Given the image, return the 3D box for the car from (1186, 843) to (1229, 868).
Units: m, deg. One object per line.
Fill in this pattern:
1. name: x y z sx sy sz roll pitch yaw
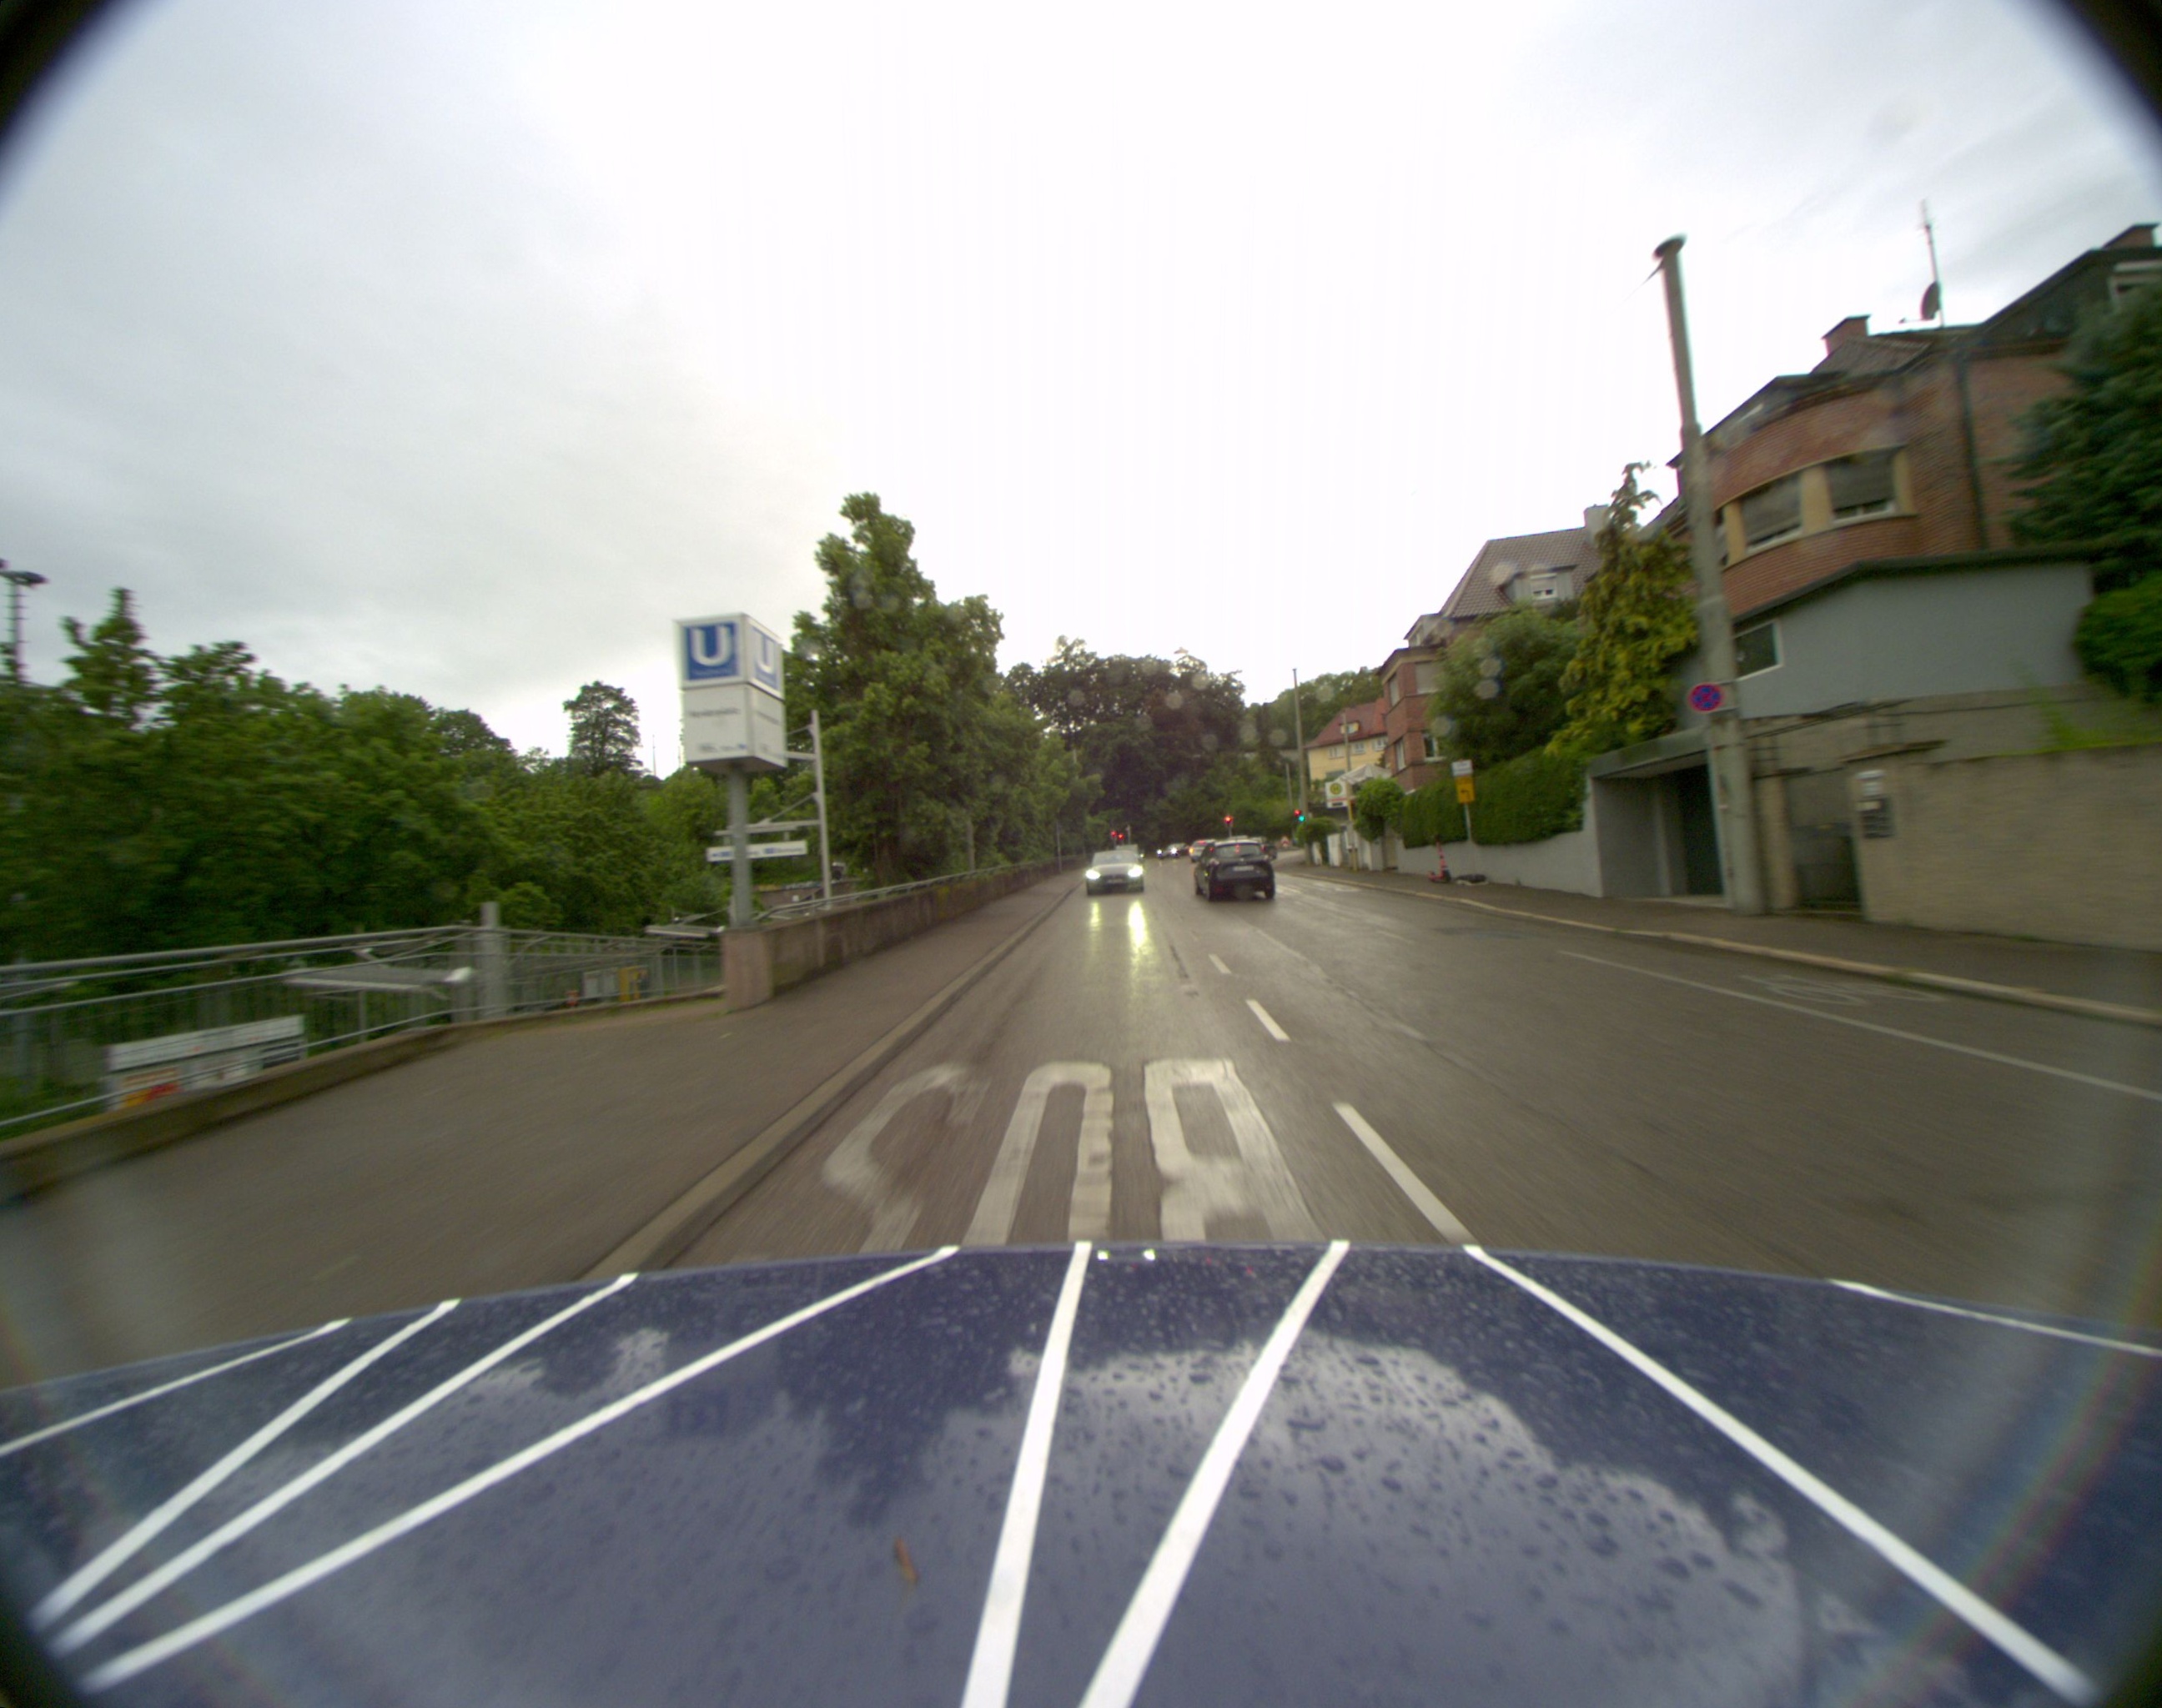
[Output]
1. car: 8.786 0.082 52.514 1.849 1.466 4.447 -2 2 24

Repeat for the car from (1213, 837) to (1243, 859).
1. car: 11.409 -0.491 59.233 1.863 1.387 4.596 -4 2 6

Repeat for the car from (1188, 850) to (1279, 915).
1. car: 4.046 0.700 20.740 1.771 1.512 3.976 -3 0 3

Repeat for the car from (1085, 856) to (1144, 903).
1. car: 1.190 0.832 26.667 1.835 1.384 4.324 -2 1 3

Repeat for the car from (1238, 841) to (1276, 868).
1. car: 10.898 -0.016 46.897 1.739 1.442 4.621 -2 1 19

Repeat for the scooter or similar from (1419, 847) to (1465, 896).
1. scooter or similar: 9.195 0.430 19.402 0.523 1.197 1.435 -2 1 4

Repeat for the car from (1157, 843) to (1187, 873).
1. car: 7.879 0.360 65.224 1.997 1.999 4.008 -5 -7 12

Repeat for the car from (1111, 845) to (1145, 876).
1. car: 2.907 0.442 46.254 1.800 1.599 4.045 -5 -3 6
